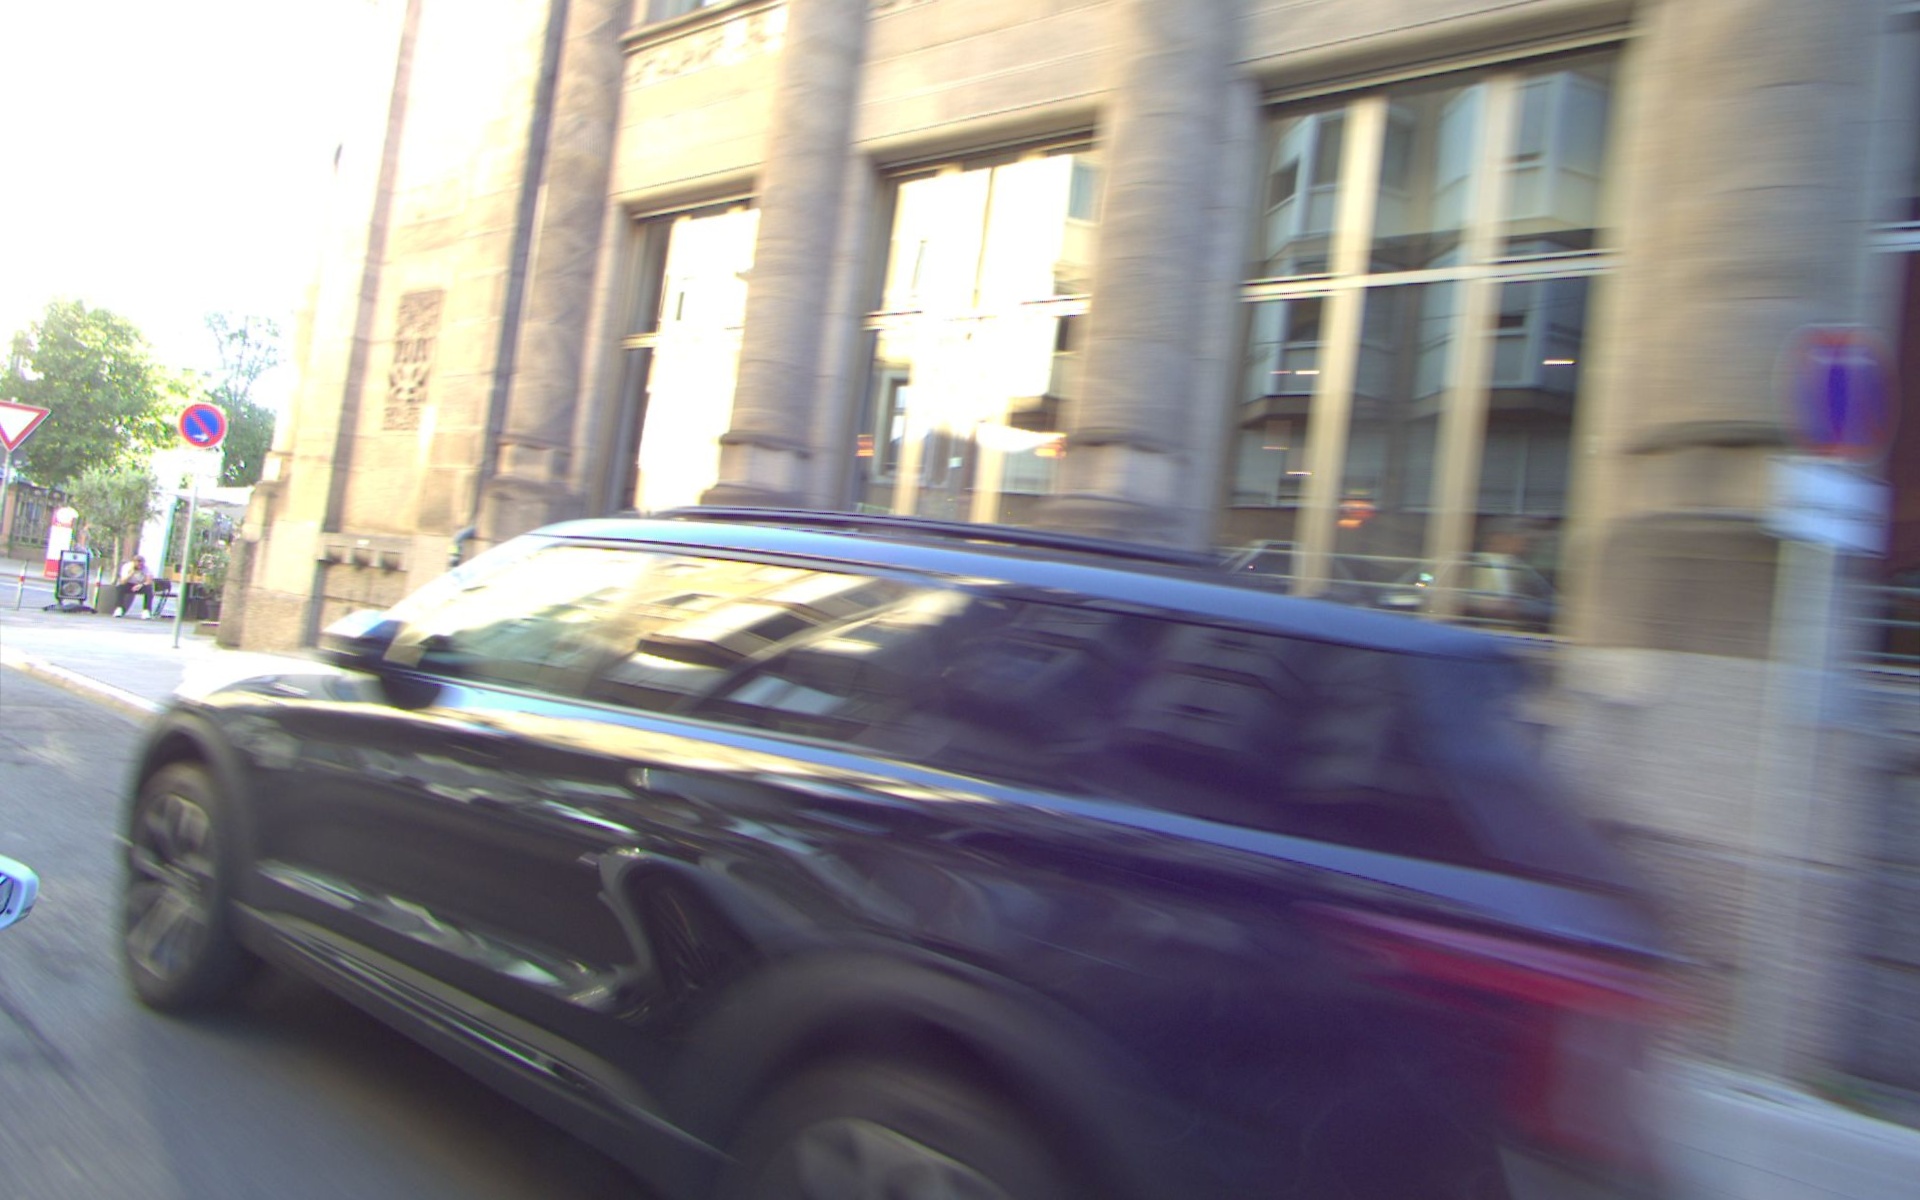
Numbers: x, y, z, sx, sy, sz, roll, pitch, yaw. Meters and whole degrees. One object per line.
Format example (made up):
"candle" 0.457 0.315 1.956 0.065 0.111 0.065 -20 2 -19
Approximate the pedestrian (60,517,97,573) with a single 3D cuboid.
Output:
"pedestrian" -28.767 -1.804 32.845 0.701 1.689 0.635 9 -2 -40

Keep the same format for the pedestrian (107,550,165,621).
"pedestrian" -15.424 -0.271 18.836 0.811 1.201 0.605 6 -3 43

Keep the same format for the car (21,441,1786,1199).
"car" -0.727 0.649 3.246 4.853 1.802 1.999 6 -3 32
